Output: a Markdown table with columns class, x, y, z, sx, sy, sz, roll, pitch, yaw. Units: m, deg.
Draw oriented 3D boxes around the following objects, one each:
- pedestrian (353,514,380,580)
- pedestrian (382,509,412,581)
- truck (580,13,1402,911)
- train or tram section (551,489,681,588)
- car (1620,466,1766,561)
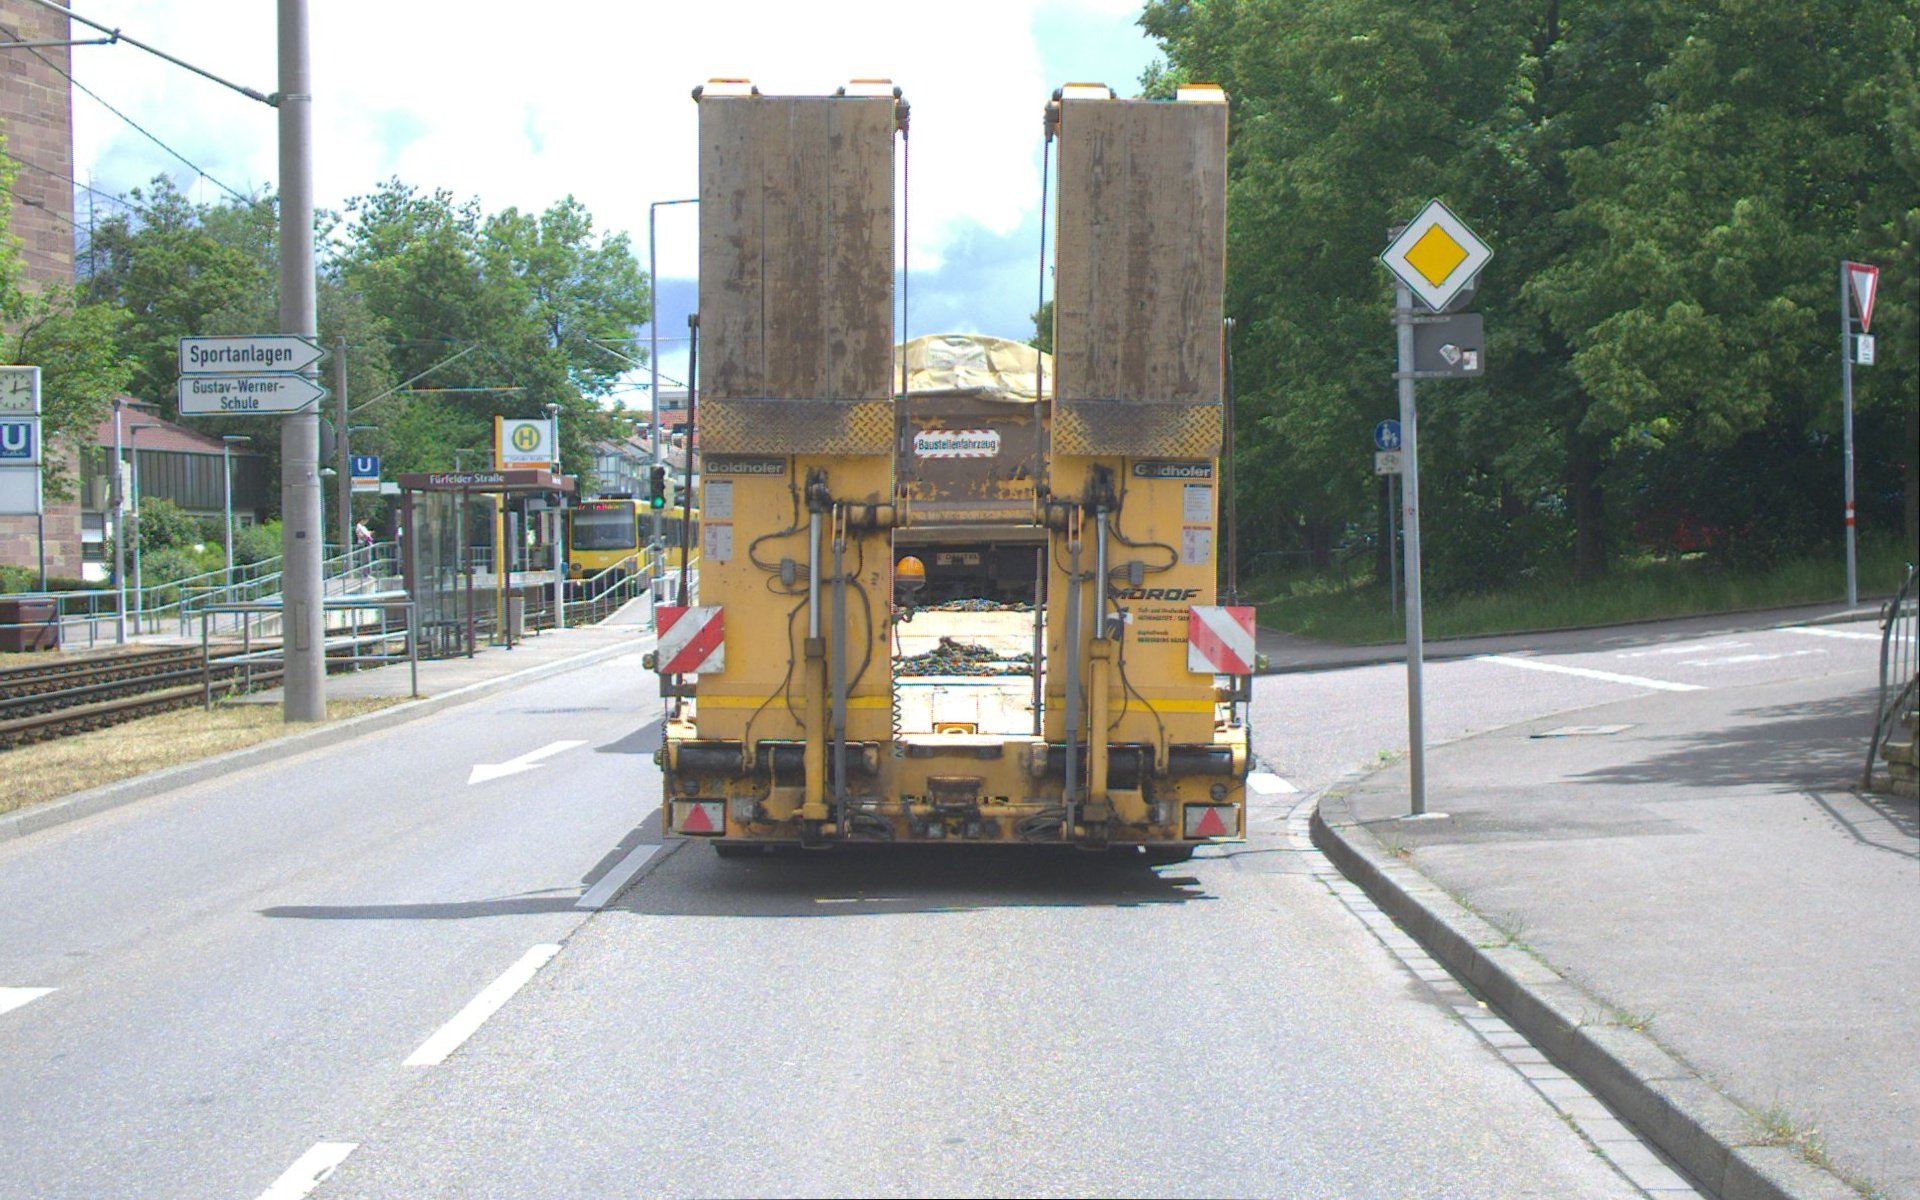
| class | x | y | z | sx | sy | sz | roll | pitch | yaw |
| --- | --- | --- | --- | --- | --- | --- | --- | --- | --- |
| pedestrian | -15.955 | -1.424 | 92.429 | 0.584 | 1.771 | 0.576 | 1 | 0 | 0 |
| pedestrian | -15.878 | -1.548 | 96.947 | 0.712 | 2.007 | 0.732 | 1 | 0 | -2 |
| truck | -0.182 | -0.659 | 21.224 | 3.402 | 3.719 | 13.740 | -1 | 1 | -3 |
| train or tram section | -12.870 | -2.253 | 130.343 | 3.108 | 3.453 | 18.827 | 1 | 1 | 0 |
| car | 12.705 | -1.476 | 59.793 | 1.661 | 1.495 | 3.663 | -3 | 1 | 0 |
